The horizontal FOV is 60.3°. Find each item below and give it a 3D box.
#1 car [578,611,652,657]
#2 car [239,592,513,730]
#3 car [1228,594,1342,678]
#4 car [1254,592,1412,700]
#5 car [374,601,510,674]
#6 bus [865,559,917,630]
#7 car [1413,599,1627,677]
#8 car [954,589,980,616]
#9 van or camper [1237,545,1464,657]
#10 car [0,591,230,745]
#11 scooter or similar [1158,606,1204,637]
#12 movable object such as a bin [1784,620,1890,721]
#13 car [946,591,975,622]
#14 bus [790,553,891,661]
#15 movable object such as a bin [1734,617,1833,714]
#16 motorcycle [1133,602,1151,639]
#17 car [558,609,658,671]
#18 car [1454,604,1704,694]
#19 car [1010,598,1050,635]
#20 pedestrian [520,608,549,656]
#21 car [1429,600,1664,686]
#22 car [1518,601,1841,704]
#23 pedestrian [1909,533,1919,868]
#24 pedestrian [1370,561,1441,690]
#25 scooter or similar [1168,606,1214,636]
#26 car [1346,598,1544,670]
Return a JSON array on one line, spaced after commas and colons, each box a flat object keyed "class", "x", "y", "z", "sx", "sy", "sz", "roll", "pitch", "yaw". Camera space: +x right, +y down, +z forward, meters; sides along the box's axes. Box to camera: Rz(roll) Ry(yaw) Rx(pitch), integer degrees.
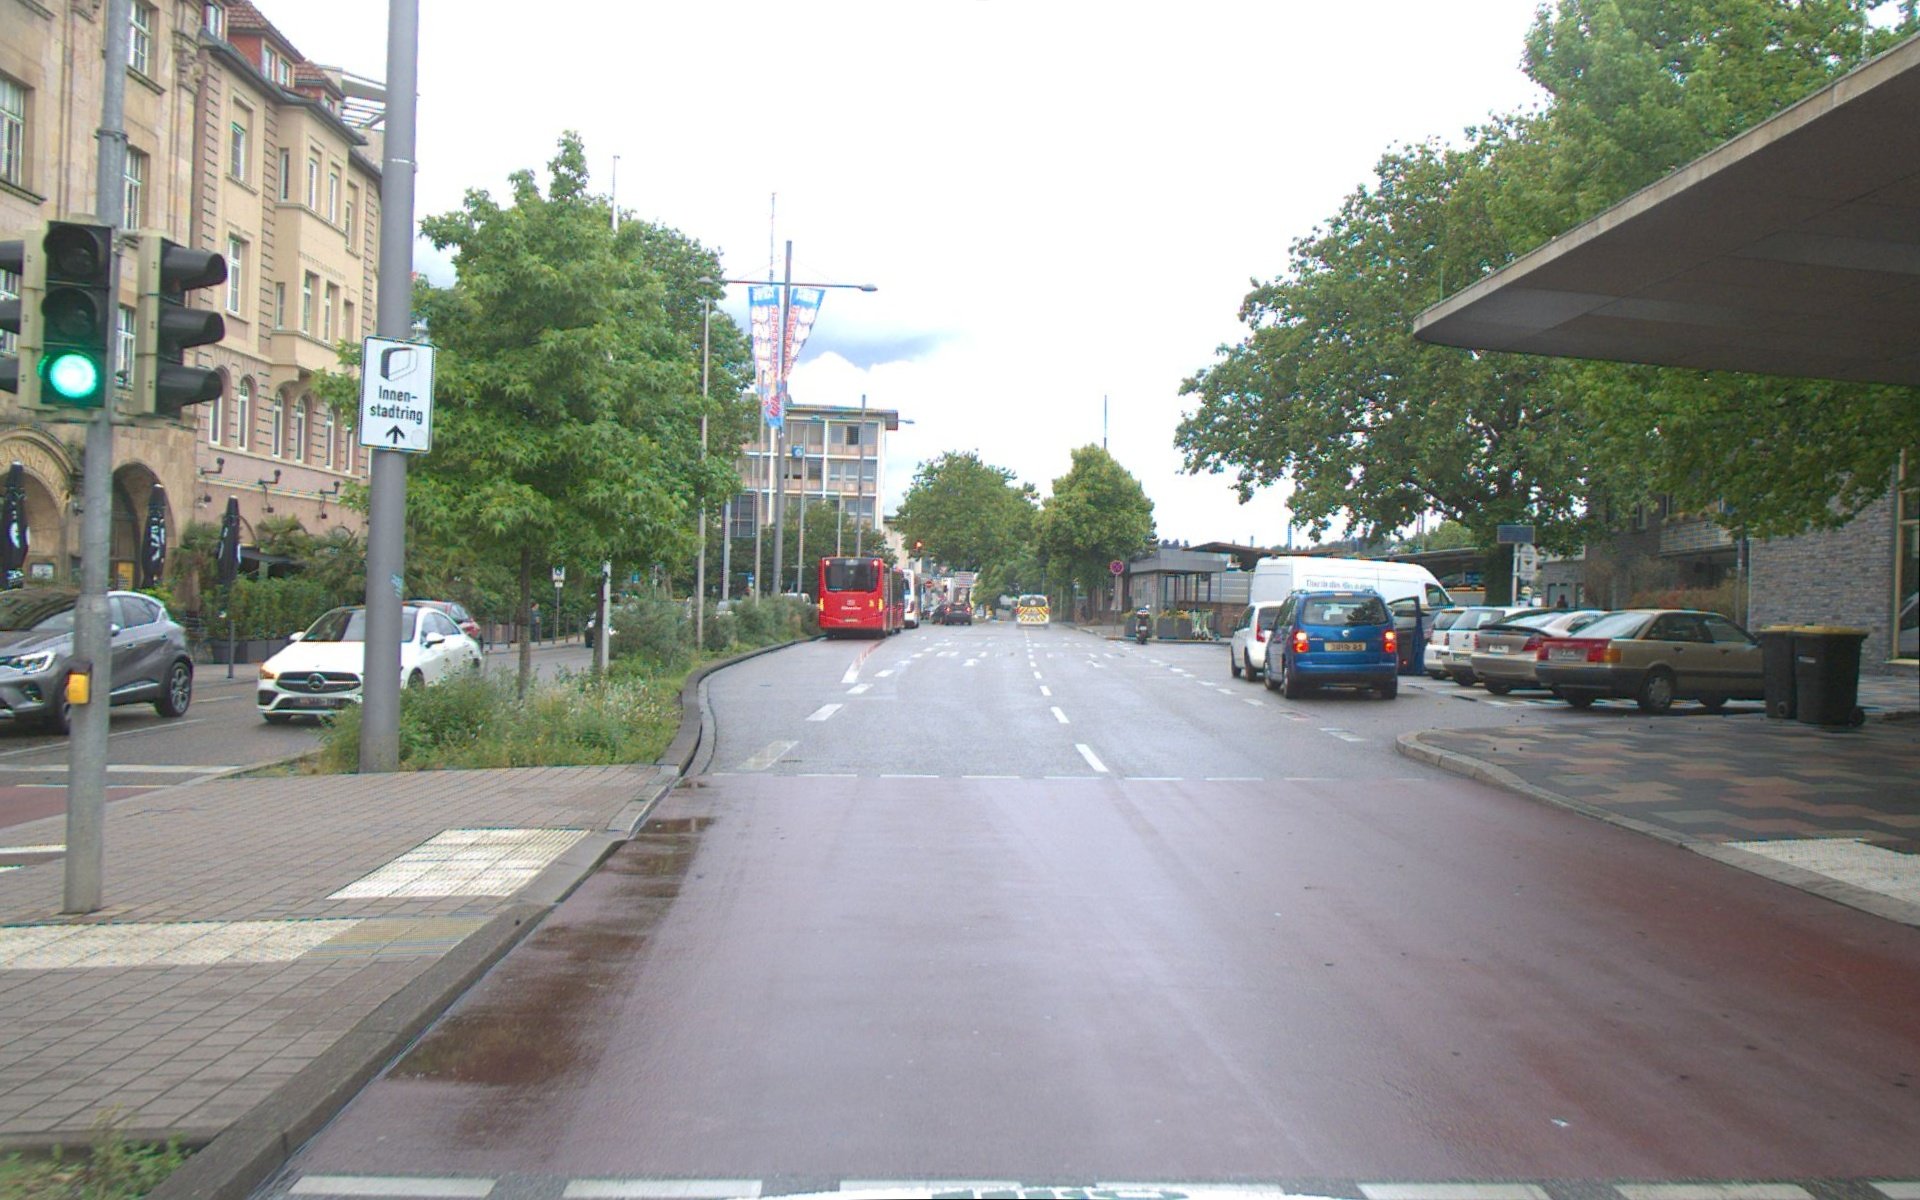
[{"class": "car", "x": -11.802, "y": 1.143, "z": 56.853, "sx": 1.711, "sy": 1.455, "sz": 3.952, "roll": -1, "pitch": 0, "yaw": -1}, {"class": "car", "x": -7.447, "y": 0.711, "z": 21.636, "sx": 1.953, "sy": 1.570, "sz": 4.632, "roll": -1, "pitch": 0, "yaw": -1}, {"class": "car", "x": 6.311, "y": 0.677, "z": 32.471, "sx": 1.750, "sy": 1.549, "sz": 3.683, "roll": 0, "pitch": -1, "yaw": 4}, {"class": "car", "x": 5.881, "y": 0.701, "z": 26.507, "sx": 1.820, "sy": 1.596, "sz": 4.001, "roll": 0, "pitch": -1, "yaw": 3}, {"class": "car", "x": -11.134, "y": 0.762, "z": 35.826, "sx": 1.711, "sy": 1.455, "sz": 3.952, "roll": -1, "pitch": 0, "yaw": -1}, {"class": "bus", "x": -3.928, "y": -0.287, "z": 94.757, "sx": 2.749, "sy": 3.812, "sz": 10.440, "roll": -1, "pitch": 0, "yaw": -2}, {"class": "car", "x": 11.143, "y": 0.726, "z": 32.902, "sx": 3.940, "sy": 1.468, "sz": 1.848, "roll": 0, "pitch": -1, "yaw": -28}, {"class": "car", "x": 0.504, "y": 0.218, "z": 129.558, "sx": 1.953, "sy": 2.049, "sz": 3.999, "roll": -1, "pitch": 0, "yaw": -1}, {"class": "van or camper", "x": 10.404, "y": -0.008, "z": 43.933, "sx": 5.879, "sy": 2.811, "sz": 2.178, "roll": -1, "pitch": 0, "yaw": -28}, {"class": "car", "x": -10.502, "y": 0.716, "z": 19.246, "sx": 1.953, "sy": 1.570, "sz": 4.632, "roll": -1, "pitch": 0, "yaw": -1}, {"class": "scooter or similar", "x": 8.494, "y": 0.809, "z": 63.498, "sx": 2.131, "sy": 1.129, "sz": 0.421, "roll": -1, "pitch": 0, "yaw": -41}, {"class": "movable object such as a bin", "x": 9.849, "y": 0.778, "z": 18.585, "sx": 0.737, "sy": 1.086, "sz": 0.747, "roll": -1, "pitch": 0, "yaw": -10}, {"class": "car", "x": 0.008, "y": 0.456, "z": 114.029, "sx": 1.953, "sy": 2.049, "sz": 3.999, "roll": -1, "pitch": 0, "yaw": -1}, {"class": "bus", "x": -4.796, "y": 0.273, "z": 68.940, "sx": 3.473, "sy": 4.049, "sz": 11.169, "roll": -1, "pitch": 0, "yaw": -1}, {"class": "movable object such as a bin", "x": 9.809, "y": 0.770, "z": 19.714, "sx": 0.738, "sy": 1.114, "sz": 0.746, "roll": -1, "pitch": 0, "yaw": -13}, {"class": "motorcycle", "x": 6.677, "y": 0.728, "z": 60.752, "sx": 0.582, "sy": 1.310, "sz": 1.954, "roll": -1, "pitch": 0, "yaw": 5}, {"class": "car", "x": -8.925, "y": 0.985, "z": 42.194, "sx": 1.711, "sy": 1.455, "sz": 3.952, "roll": -1, "pitch": 0, "yaw": -1}, {"class": "car", "x": 10.172, "y": 0.762, "z": 27.127, "sx": 3.947, "sy": 1.383, "sz": 1.845, "roll": 0, "pitch": -1, "yaw": -32}, {"class": "car", "x": 3.992, "y": 0.933, "z": 95.028, "sx": 1.953, "sy": 2.049, "sz": 5.060, "roll": -1, "pitch": 0, "yaw": -1}, {"class": "pedestrian", "x": -17.402, "y": 1.318, "z": 67.624, "sx": 0.836, "sy": 1.933, "sz": 0.941, "roll": -1, "pitch": 0, "yaw": -37}, {"class": "car", "x": 10.621, "y": 0.743, "z": 29.920, "sx": 3.940, "sy": 1.468, "sz": 1.848, "roll": 0, "pitch": -1, "yaw": -28}, {"class": "car", "x": 10.197, "y": 0.708, "z": 23.462, "sx": 4.125, "sy": 1.348, "sz": 1.829, "roll": 0, "pitch": -1, "yaw": -21}, {"class": "pedestrian", "x": 5.510, "y": 0.530, "z": 8.487, "sx": 0.732, "sy": 1.777, "sz": 0.834, "roll": 0, "pitch": -1, "yaw": -9}, {"class": "pedestrian", "x": 7.249, "y": 0.405, "z": 26.947, "sx": 0.815, "sy": 2.049, "sz": 0.888, "roll": -1, "pitch": 0, "yaw": -5}, {"class": "scooter or similar", "x": 8.835, "y": 0.798, "z": 63.137, "sx": 2.131, "sy": 1.129, "sz": 0.437, "roll": -1, "pitch": 0, "yaw": -41}, {"class": "car", "x": 10.469, "y": 0.717, "z": 35.680, "sx": 3.940, "sy": 1.468, "sz": 1.848, "roll": 0, "pitch": -1, "yaw": -28}]
